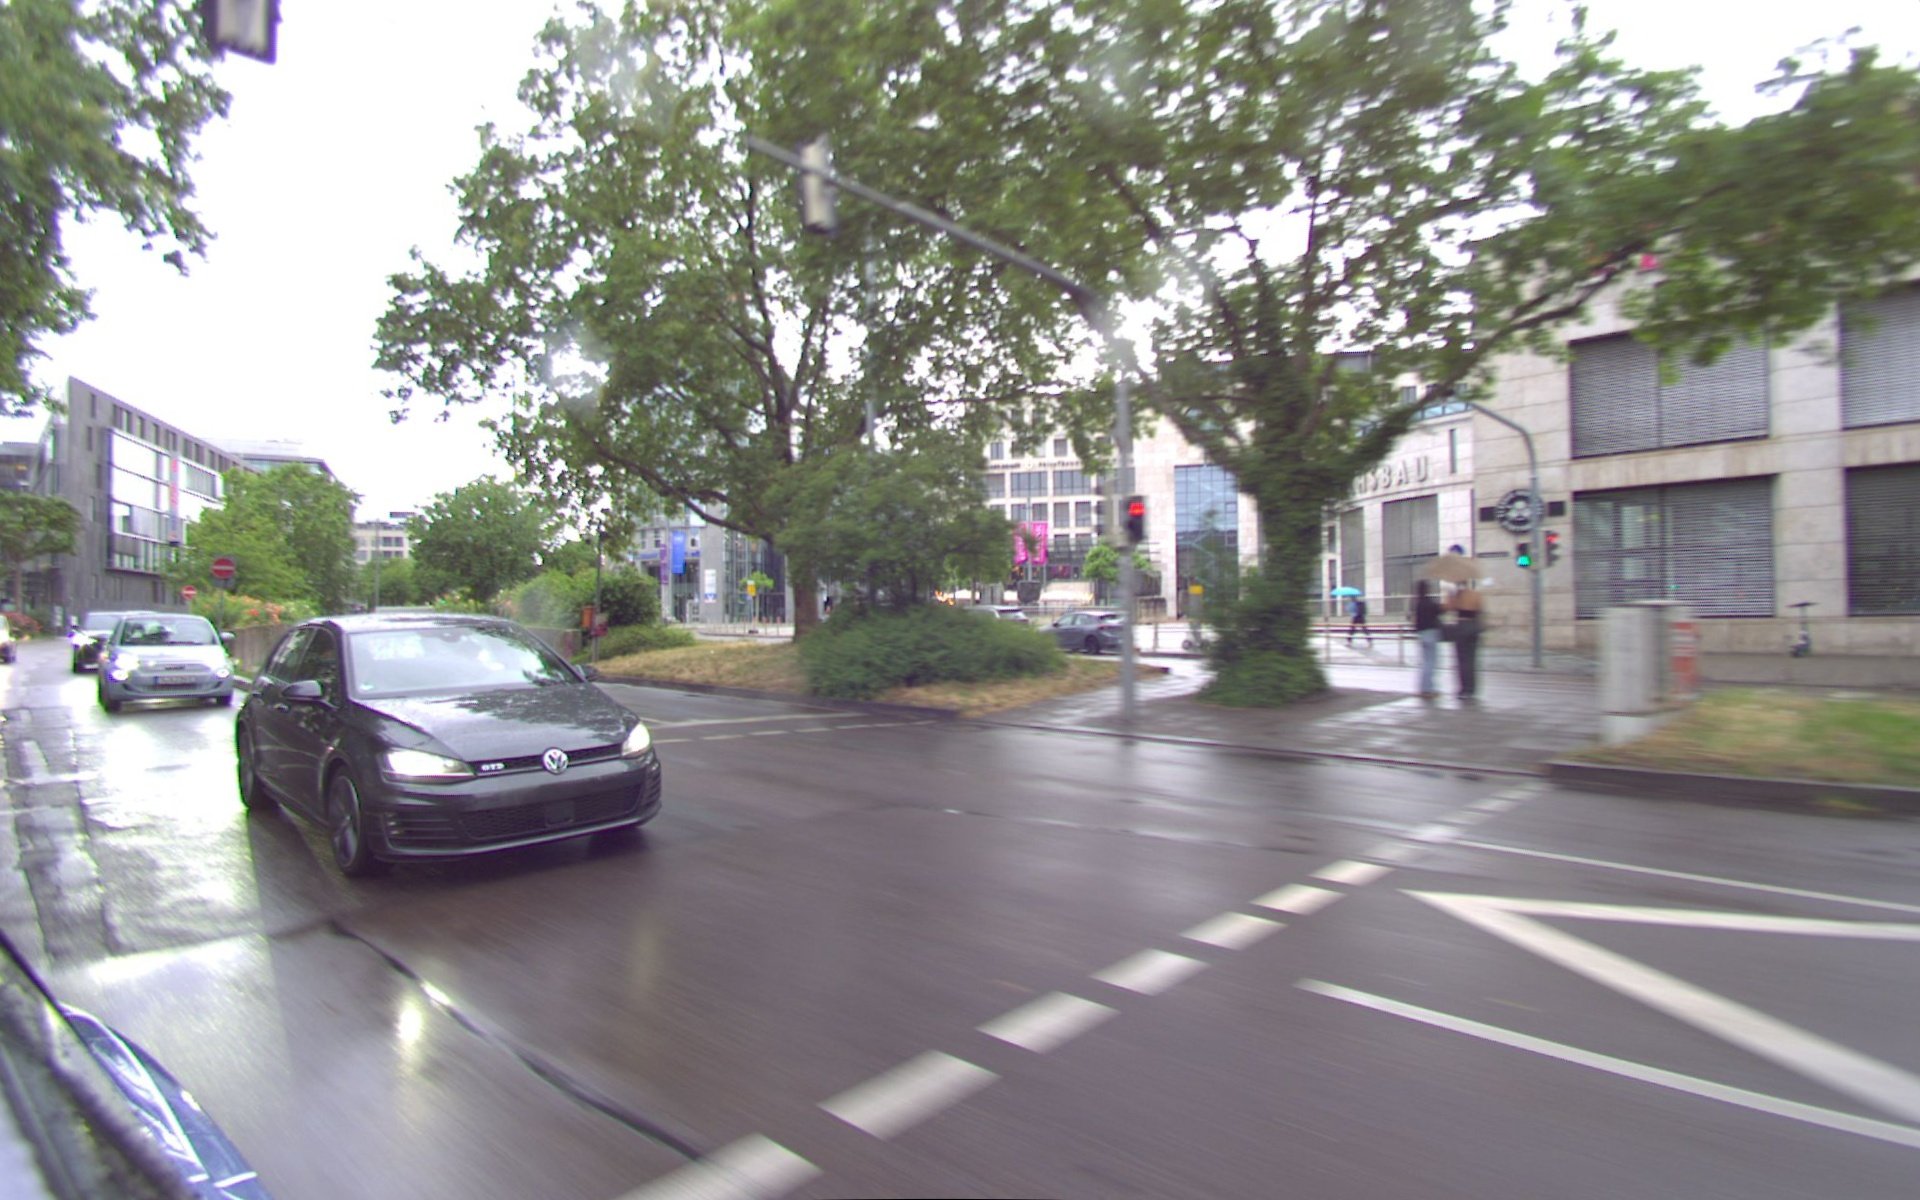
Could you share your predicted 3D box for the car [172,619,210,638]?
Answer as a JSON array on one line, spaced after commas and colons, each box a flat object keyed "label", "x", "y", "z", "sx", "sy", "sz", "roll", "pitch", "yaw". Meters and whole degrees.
[{"label": "car", "x": -72.954, "y": 2.677, "z": 96.068, "sx": 1.965, "sy": 1.757, "sz": 3.922, "roll": 0, "pitch": -1, "yaw": -23}]

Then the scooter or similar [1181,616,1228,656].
[{"label": "scooter or similar", "x": 7.673, "y": 1.119, "z": 31.805, "sx": 1.406, "sy": 1.195, "sz": 0.583, "roll": -2, "pitch": 0, "yaw": -31}]

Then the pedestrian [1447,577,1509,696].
[{"label": "pedestrian", "x": 7.185, "y": 0.504, "z": 14.057, "sx": 0.636, "sy": 1.626, "sz": 0.446, "roll": -1, "pitch": -1, "yaw": 15}]

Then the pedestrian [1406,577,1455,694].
[{"label": "pedestrian", "x": 6.708, "y": 0.502, "z": 14.439, "sx": 0.420, "sy": 1.626, "sz": 0.554, "roll": -1, "pitch": -1, "yaw": 5}]

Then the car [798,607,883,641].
[{"label": "car", "x": -5.868, "y": 1.123, "z": 49.296, "sx": 1.980, "sy": 1.545, "sz": 4.721, "roll": 1, "pitch": -1, "yaw": -37}]

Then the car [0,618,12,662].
[{"label": "car", "x": -29.467, "y": 1.169, "z": 30.170, "sx": 1.692, "sy": 1.291, "sz": 3.498, "roll": 1, "pitch": -1, "yaw": -43}]

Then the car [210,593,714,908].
[{"label": "car", "x": -3.546, "y": 0.726, "z": 6.800, "sx": 4.124, "sy": 1.463, "sz": 1.764, "roll": -1, "pitch": -1, "yaw": 44}]

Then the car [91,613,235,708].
[{"label": "car", "x": -13.671, "y": 0.970, "z": 17.298, "sx": 1.589, "sy": 1.452, "sz": 3.497, "roll": 2, "pitch": -2, "yaw": -43}]

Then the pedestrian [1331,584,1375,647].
[{"label": "pedestrian", "x": 12.354, "y": 0.482, "z": 31.846, "sx": 1.126, "sy": 1.939, "sz": 0.581, "roll": -1, "pitch": 0, "yaw": 45}]

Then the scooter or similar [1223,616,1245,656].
[{"label": "scooter or similar", "x": 8.334, "y": 1.081, "z": 30.825, "sx": 0.438, "sy": 1.134, "sz": 1.608, "roll": -2, "pitch": 0, "yaw": 10}]

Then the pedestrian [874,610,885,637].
[{"label": "pedestrian", "x": -4.909, "y": 1.429, "z": 61.806, "sx": 0.572, "sy": 1.639, "sz": 0.562, "roll": 0, "pitch": -1, "yaw": 5}]

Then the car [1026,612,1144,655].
[{"label": "car", "x": 4.318, "y": 1.115, "z": 35.516, "sx": 1.817, "sy": 1.392, "sz": 4.051, "roll": 1, "pitch": -1, "yaw": -36}]

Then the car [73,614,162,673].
[{"label": "car", "x": -22.387, "y": 1.124, "z": 26.907, "sx": 1.691, "sy": 1.452, "sz": 3.499, "roll": 2, "pitch": -2, "yaw": -40}]

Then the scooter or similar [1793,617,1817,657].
[{"label": "scooter or similar", "x": 20.198, "y": 0.873, "z": 24.188, "sx": 0.348, "sy": 0.926, "sz": 1.401, "roll": -2, "pitch": -1, "yaw": 42}]

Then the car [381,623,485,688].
[{"label": "car", "x": -14.866, "y": 1.497, "z": 28.462, "sx": 1.755, "sy": 1.608, "sz": 4.006, "roll": 0, "pitch": 0, "yaw": -41}]

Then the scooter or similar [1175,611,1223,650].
[{"label": "scooter or similar", "x": 7.760, "y": 0.984, "z": 32.841, "sx": 1.405, "sy": 1.195, "sz": 0.583, "roll": -2, "pitch": 0, "yaw": -23}]

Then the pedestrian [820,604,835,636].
[{"label": "pedestrian", "x": -7.560, "y": 1.116, "z": 57.749, "sx": 0.737, "sy": 1.803, "sz": 0.424, "roll": -1, "pitch": 0, "yaw": -13}]

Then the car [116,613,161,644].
[{"label": "car", "x": -48.721, "y": 1.669, "z": 60.101, "sx": 1.968, "sy": 1.757, "sz": 3.918, "roll": 0, "pitch": -1, "yaw": -38}]
